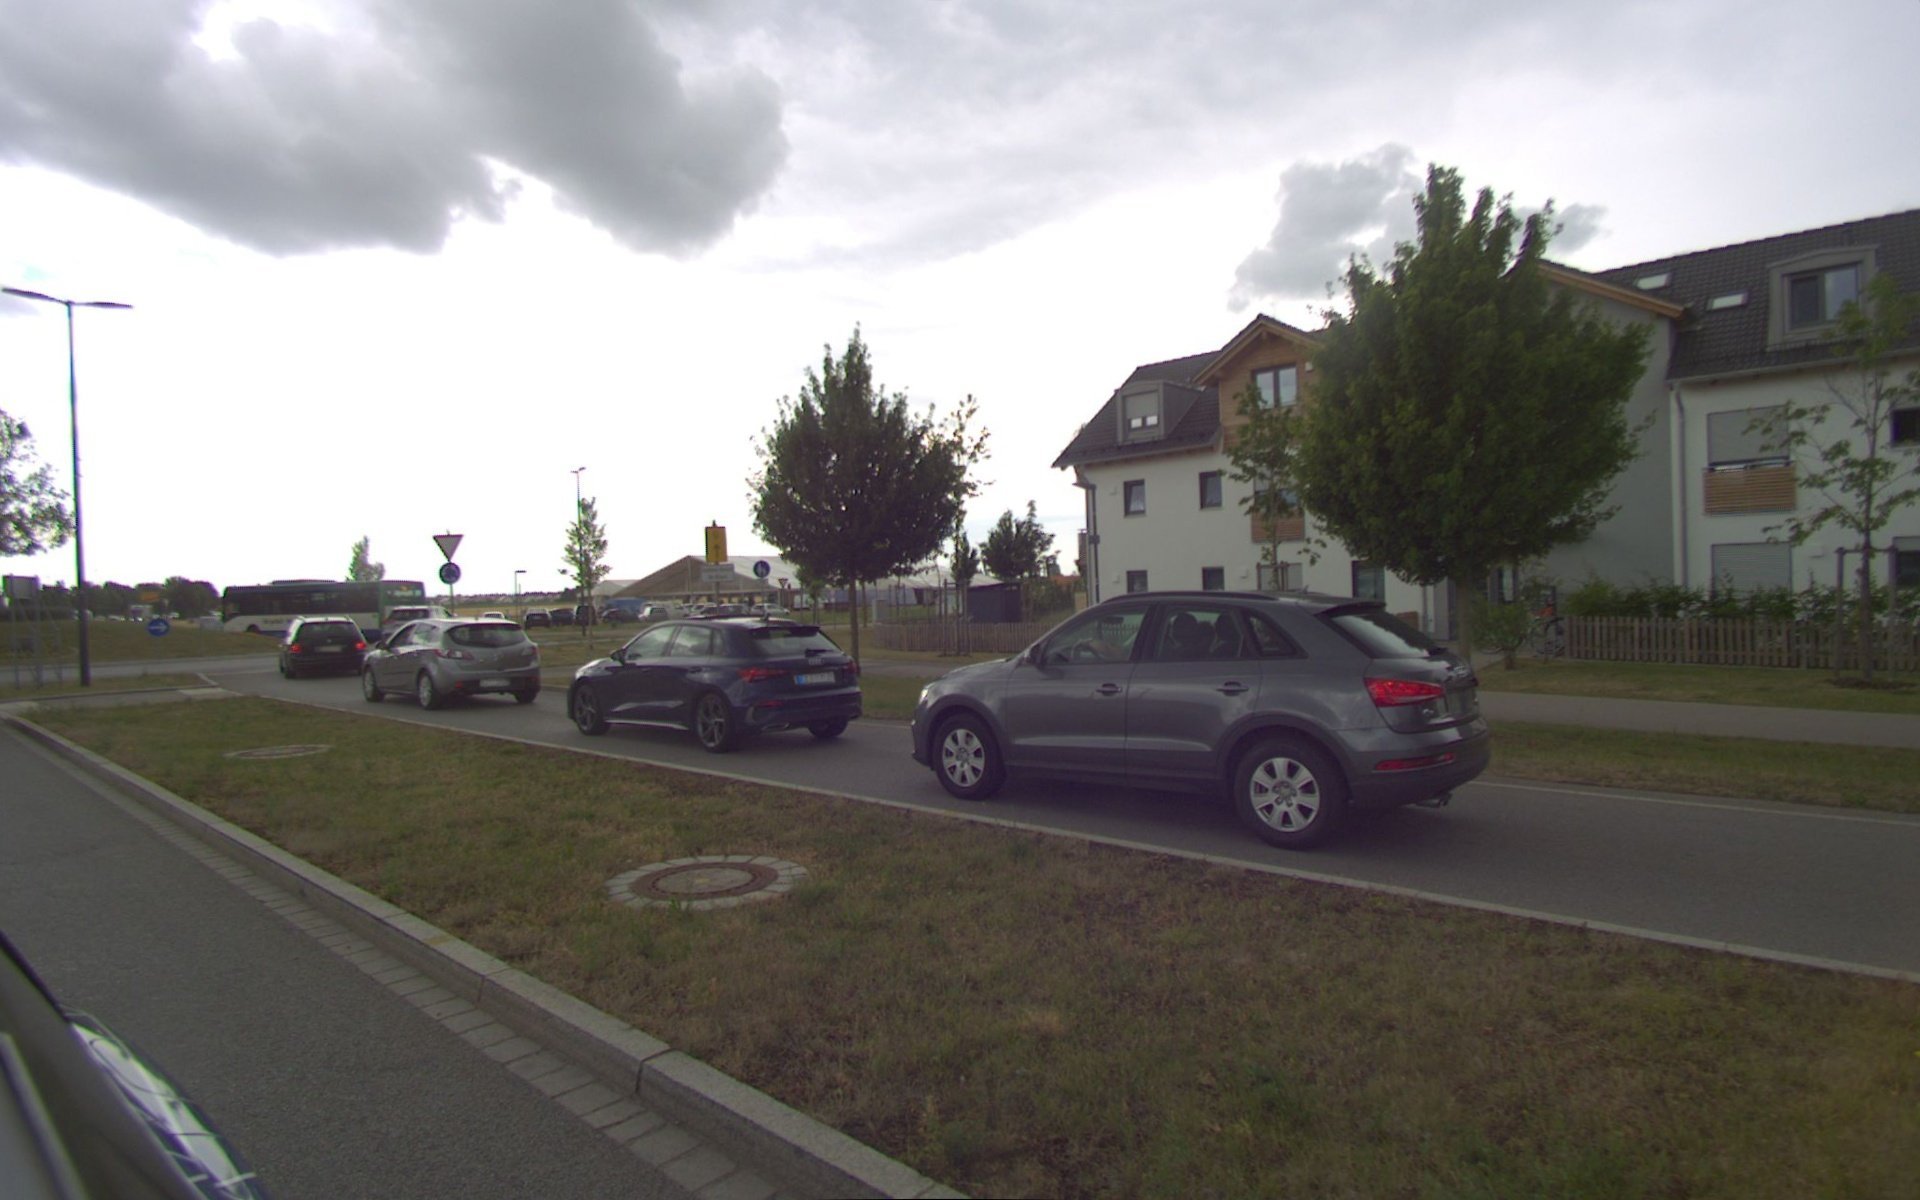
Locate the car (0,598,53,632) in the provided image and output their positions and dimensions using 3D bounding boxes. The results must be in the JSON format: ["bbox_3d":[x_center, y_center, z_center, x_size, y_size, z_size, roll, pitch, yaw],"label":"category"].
[{"bbox_3d":[-49.826,0.803,52.849,1.967,1.697,4.010,-1,-1,-12],"label":"car"}]

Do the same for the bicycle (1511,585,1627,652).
[{"bbox_3d":[13.465,0.413,22.422,2.093,1.428,0.675,-2,-1,41],"label":"bicycle"}]

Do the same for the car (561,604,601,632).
[{"bbox_3d":[-28.768,1.355,76.672,1.966,2.029,4.011,0,-1,-34],"label":"car"}]

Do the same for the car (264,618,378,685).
[{"bbox_3d":[-15.995,1.226,25.239,1.803,1.500,4.344,0,-1,-40],"label":"car"}]

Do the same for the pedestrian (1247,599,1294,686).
[{"bbox_3d":[5.657,0.767,18.438,0.586,1.541,0.540,-2,1,41],"label":"pedestrian"}]

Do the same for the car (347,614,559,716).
[{"bbox_3d":[-8.722,1.037,17.251,4.214,1.500,1.806,-2,-1,42],"label":"car"}]

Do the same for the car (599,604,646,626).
[{"bbox_3d":[-32.063,1.422,96.214,1.991,2.029,3.961,-2,-1,29],"label":"car"}]

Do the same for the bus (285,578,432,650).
[{"bbox_3d":[-29.507,0.728,49.667,6.440,3.305,2.971,-1,-1,22],"label":"bus"}]

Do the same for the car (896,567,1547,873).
[{"bbox_3d":[1.662,0.675,7.353,4.214,1.594,1.806,-2,-1,42],"label":"car"}]

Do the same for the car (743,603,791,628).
[{"bbox_3d":[-16.704,1.343,87.734,1.991,2.029,3.961,-2,-1,29],"label":"car"}]

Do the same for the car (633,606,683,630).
[{"bbox_3d":[-27.063,1.586,90.844,1.994,2.029,3.956,-2,-1,32],"label":"car"}]

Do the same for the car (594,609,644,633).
[{"bbox_3d":[-30.780,1.887,91.506,1.991,2.029,3.961,-2,-1,29],"label":"car"}]

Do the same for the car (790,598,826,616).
[{"bbox_3d":[-18.352,0.837,122.312,1.991,2.029,4.523,-2,-1,28],"label":"car"}]

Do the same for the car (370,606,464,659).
[{"bbox_3d":[-19.310,1.112,36.210,1.801,1.735,4.410,0,0,-12],"label":"car"}]

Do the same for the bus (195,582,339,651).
[{"bbox_3d":[-35.638,0.883,52.082,6.656,3.305,2.971,-1,-1,22],"label":"bus"}]

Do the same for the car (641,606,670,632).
[{"bbox_3d":[-24.538,1.521,81.518,1.965,2.029,4.013,-1,-1,-21],"label":"car"}]

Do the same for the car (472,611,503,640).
[{"bbox_3d":[-34.851,1.873,74.727,1.965,2.029,4.013,-1,-1,-24],"label":"car"}]

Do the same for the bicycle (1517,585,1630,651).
[{"bbox_3d":[13.923,0.426,23.019,2.093,1.439,0.675,-2,-1,41],"label":"bicycle"}]

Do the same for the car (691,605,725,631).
[{"bbox_3d":[-20.511,1.459,82.367,2.194,2.029,4.013,-1,-1,-21],"label":"car"}]

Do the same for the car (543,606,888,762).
[{"bbox_3d":[-3.025,0.873,11.976,4.348,1.500,1.806,-2,-1,42],"label":"car"}]

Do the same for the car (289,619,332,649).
[{"bbox_3d":[-45.218,2.351,70.555,1.965,2.029,4.013,-1,-1,-24],"label":"car"}]

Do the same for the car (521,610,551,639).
[{"bbox_3d":[-31.706,1.829,75.592,1.965,2.029,4.013,-1,-1,-24],"label":"car"}]

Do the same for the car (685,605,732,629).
[{"bbox_3d":[-22.352,1.485,90.057,1.991,2.029,3.961,-2,-1,29],"label":"car"}]

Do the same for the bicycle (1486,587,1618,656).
[{"bbox_3d":[12.645,0.467,21.672,2.342,1.423,0.675,-2,-1,41],"label":"bicycle"}]
